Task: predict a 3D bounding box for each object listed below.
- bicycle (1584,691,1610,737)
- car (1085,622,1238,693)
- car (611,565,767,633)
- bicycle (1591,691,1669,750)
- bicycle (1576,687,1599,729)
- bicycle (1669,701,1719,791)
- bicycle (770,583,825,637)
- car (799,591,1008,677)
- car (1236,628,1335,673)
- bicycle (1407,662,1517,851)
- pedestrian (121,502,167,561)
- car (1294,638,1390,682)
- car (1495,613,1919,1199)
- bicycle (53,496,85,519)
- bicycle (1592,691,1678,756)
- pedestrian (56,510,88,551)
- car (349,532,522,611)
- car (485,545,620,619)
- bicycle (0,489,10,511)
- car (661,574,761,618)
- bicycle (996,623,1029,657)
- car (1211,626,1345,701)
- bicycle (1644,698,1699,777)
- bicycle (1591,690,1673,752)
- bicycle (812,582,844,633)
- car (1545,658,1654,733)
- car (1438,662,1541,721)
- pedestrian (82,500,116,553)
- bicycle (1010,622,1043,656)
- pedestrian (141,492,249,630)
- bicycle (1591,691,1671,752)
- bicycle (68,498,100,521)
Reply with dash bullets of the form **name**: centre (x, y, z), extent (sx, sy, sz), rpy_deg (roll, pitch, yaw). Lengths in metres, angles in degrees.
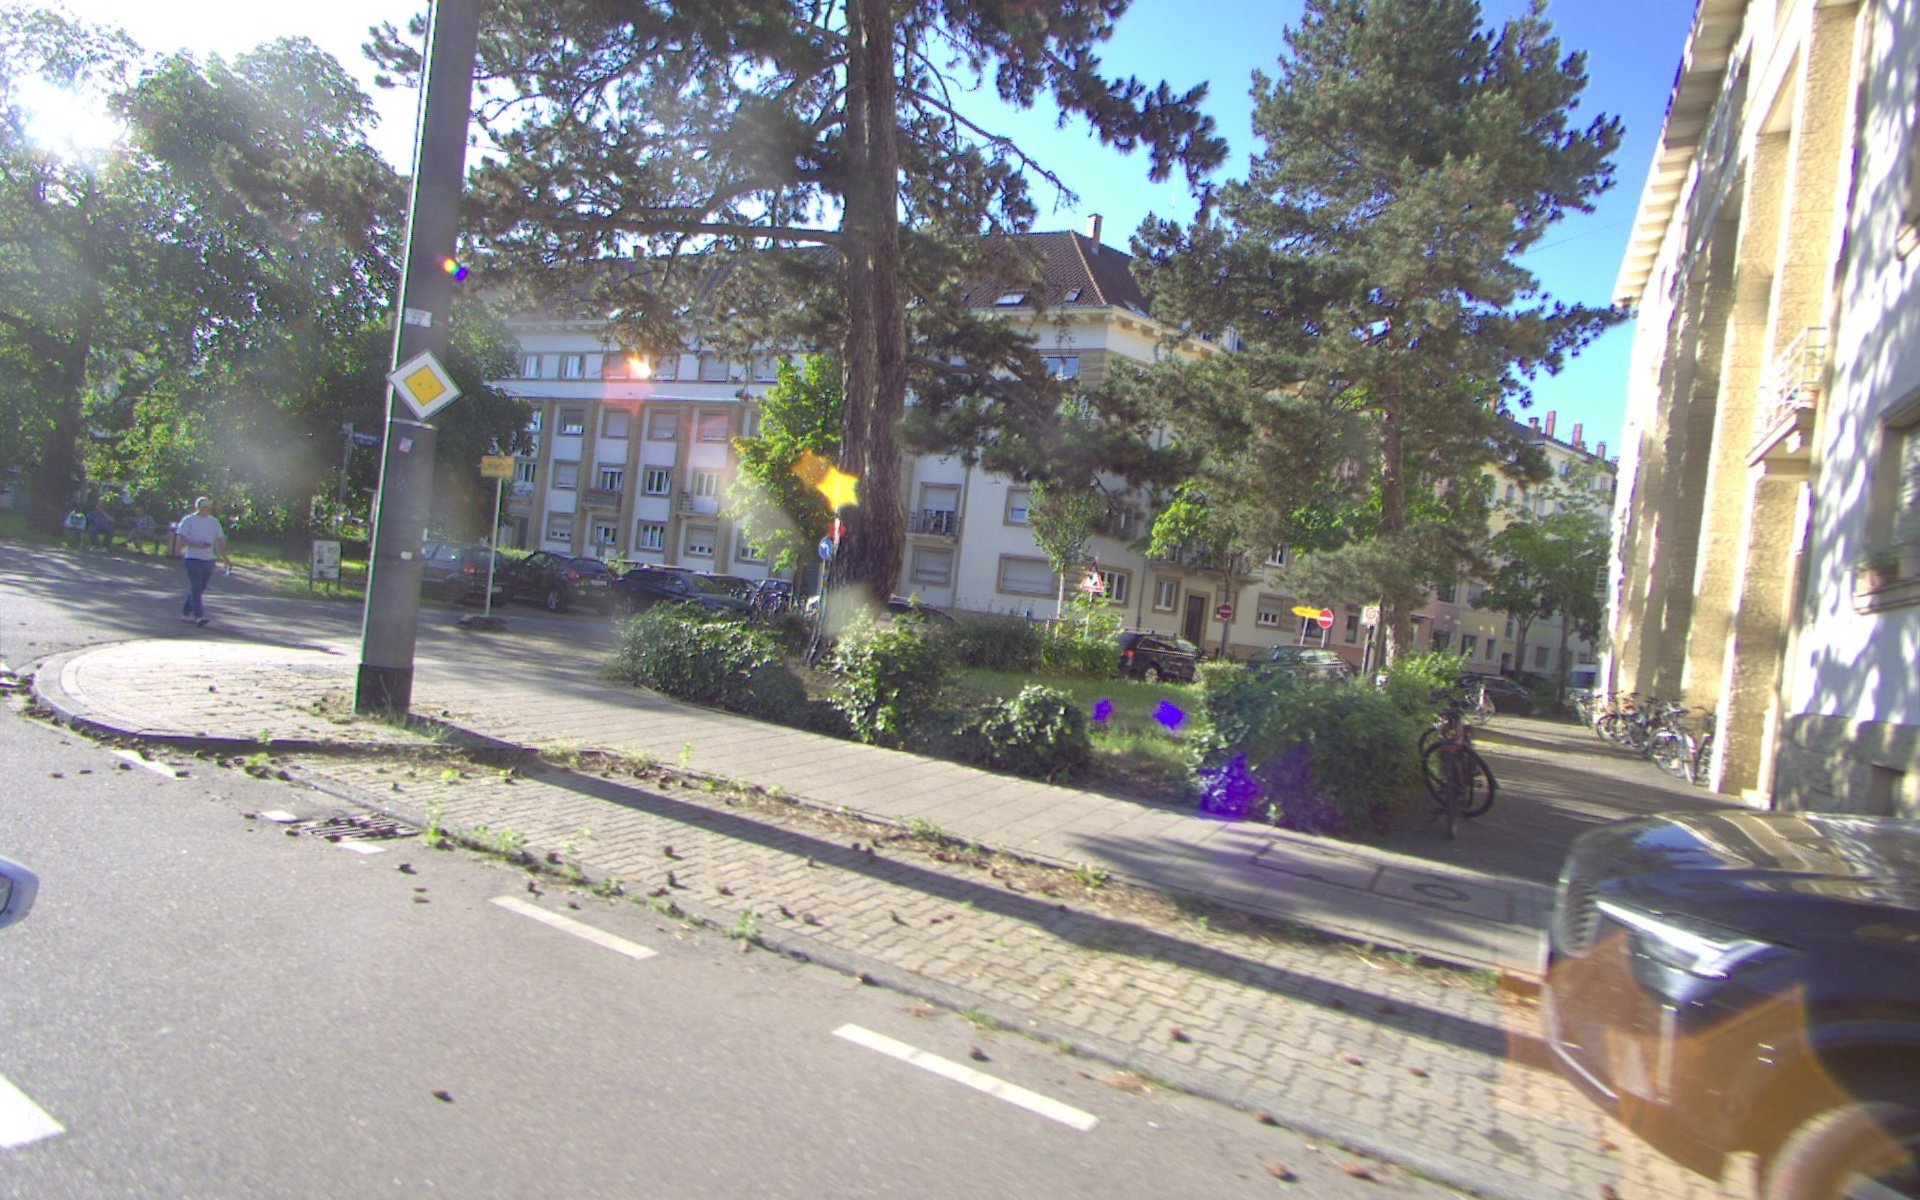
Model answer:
- **bicycle**: centre (16.981, 3.023, 26.825), extent (0.384, 1.126, 1.385), rpy_deg (7, 0, 29)
- **car**: centre (5.393, 1.546, 26.760), extent (3.877, 1.488, 1.751), rpy_deg (6, 1, -37)
- **car**: centre (-7.867, -0.032, 29.136), extent (4.164, 1.459, 1.639), rpy_deg (7, 1, 24)
- **bicycle**: centre (15.344, 2.750, 23.050), extent (1.365, 1.127, 0.389), rpy_deg (7, 2, 35)
- **bicycle**: centre (18.934, 3.246, 30.365), extent (0.384, 1.127, 1.384), rpy_deg (7, 2, 29)
- **bicycle**: centre (10.396, 2.040, 14.267), extent (0.385, 1.127, 1.383), rpy_deg (7, 2, 33)
- **bicycle**: centre (-5.079, 0.282, 31.245), extent (0.747, 1.475, 2.320), rpy_deg (9, -2, -30)
- **car**: centre (-1.188, 0.762, 22.109), extent (4.267, 1.519, 1.753), rpy_deg (6, -2, -37)
- **car**: centre (15.153, 2.342, 46.993), extent (1.802, 1.569, 3.965), rpy_deg (10, -3, -34)
- **bicycle**: centre (4.194, 1.209, 8.334), extent (0.554, 1.317, 1.831), rpy_deg (7, 2, 31)
- **pedestrian**: centre (-20.823, -1.741, 25.692), extent (0.681, 1.388, 0.748), rpy_deg (9, -2, -34)
- **car**: centre (18.623, 2.923, 49.217), extent (1.802, 1.569, 3.965), rpy_deg (10, -3, -34)
- **car**: centre (4.144, 1.172, 2.400), extent (4.850, 1.740, 1.879), rpy_deg (7, 3, 30)
- **bicycle**: centre (-48.600, -5.043, 54.873), extent (1.972, 1.046, 0.598), rpy_deg (7, -2, 29)
- **bicycle**: centre (14.202, 2.582, 21.190), extent (1.365, 1.127, 0.389), rpy_deg (7, 2, 35)
- **pedestrian**: centre (-21.892, -1.717, 24.805), extent (0.401, 0.945, 0.617), rpy_deg (9, 0, -34)
- **car**: centre (-13.317, -0.721, 25.575), extent (3.737, 1.513, 1.640), rpy_deg (7, 1, 18)
- **car**: centre (-11.189, -0.505, 27.554), extent (3.746, 1.592, 1.452), rpy_deg (7, 1, 33)
- **bicycle**: centre (-65.059, -6.866, 66.966), extent (0.598, 1.415, 2.478), rpy_deg (7, -3, 28)
- **car**: centre (-8.907, -0.129, 36.177), extent (1.549, 1.389, 3.347), rpy_deg (7, 3, 30)
- **bicycle**: centre (2.149, 1.659, 41.052), extent (0.586, 1.202, 2.063), rpy_deg (7, -2, 22)
- **car**: centre (9.536, 1.927, 30.096), extent (3.880, 1.732, 1.751), rpy_deg (8, 0, -37)
- **bicycle**: centre (11.126, 2.130, 15.715), extent (0.386, 1.127, 1.378), rpy_deg (8, 2, 44)
- **bicycle**: centre (14.635, 2.622, 21.940), extent (1.365, 1.127, 0.389), rpy_deg (7, 2, 35)
- **bicycle**: centre (-4.173, 0.225, 31.663), extent (0.552, 1.475, 2.332), rpy_deg (8, -2, -14)
- **car**: centre (27.352, 4.110, 42.967), extent (5.280, 2.469, 2.104), rpy_deg (10, -3, -38)
- **car**: centre (19.651, 3.416, 37.297), extent (3.971, 1.629, 1.782), rpy_deg (10, -3, -38)
- **pedestrian**: centre (-21.495, -1.830, 25.127), extent (0.401, 1.240, 0.754), rpy_deg (9, -2, -34)
- **bicycle**: centre (2.709, 1.600, 40.814), extent (0.586, 1.202, 2.063), rpy_deg (7, -2, 22)
- **pedestrian**: centre (-10.425, -0.515, 13.720), extent (0.713, 1.744, 0.880), rpy_deg (8, 2, 35)
- **bicycle**: centre (14.900, 2.684, 22.358), extent (1.365, 1.127, 0.389), rpy_deg (7, 2, 35)
- **bicycle**: centre (-48.306, -4.982, 55.460), extent (1.956, 1.046, 0.598), rpy_deg (7, -2, 29)
